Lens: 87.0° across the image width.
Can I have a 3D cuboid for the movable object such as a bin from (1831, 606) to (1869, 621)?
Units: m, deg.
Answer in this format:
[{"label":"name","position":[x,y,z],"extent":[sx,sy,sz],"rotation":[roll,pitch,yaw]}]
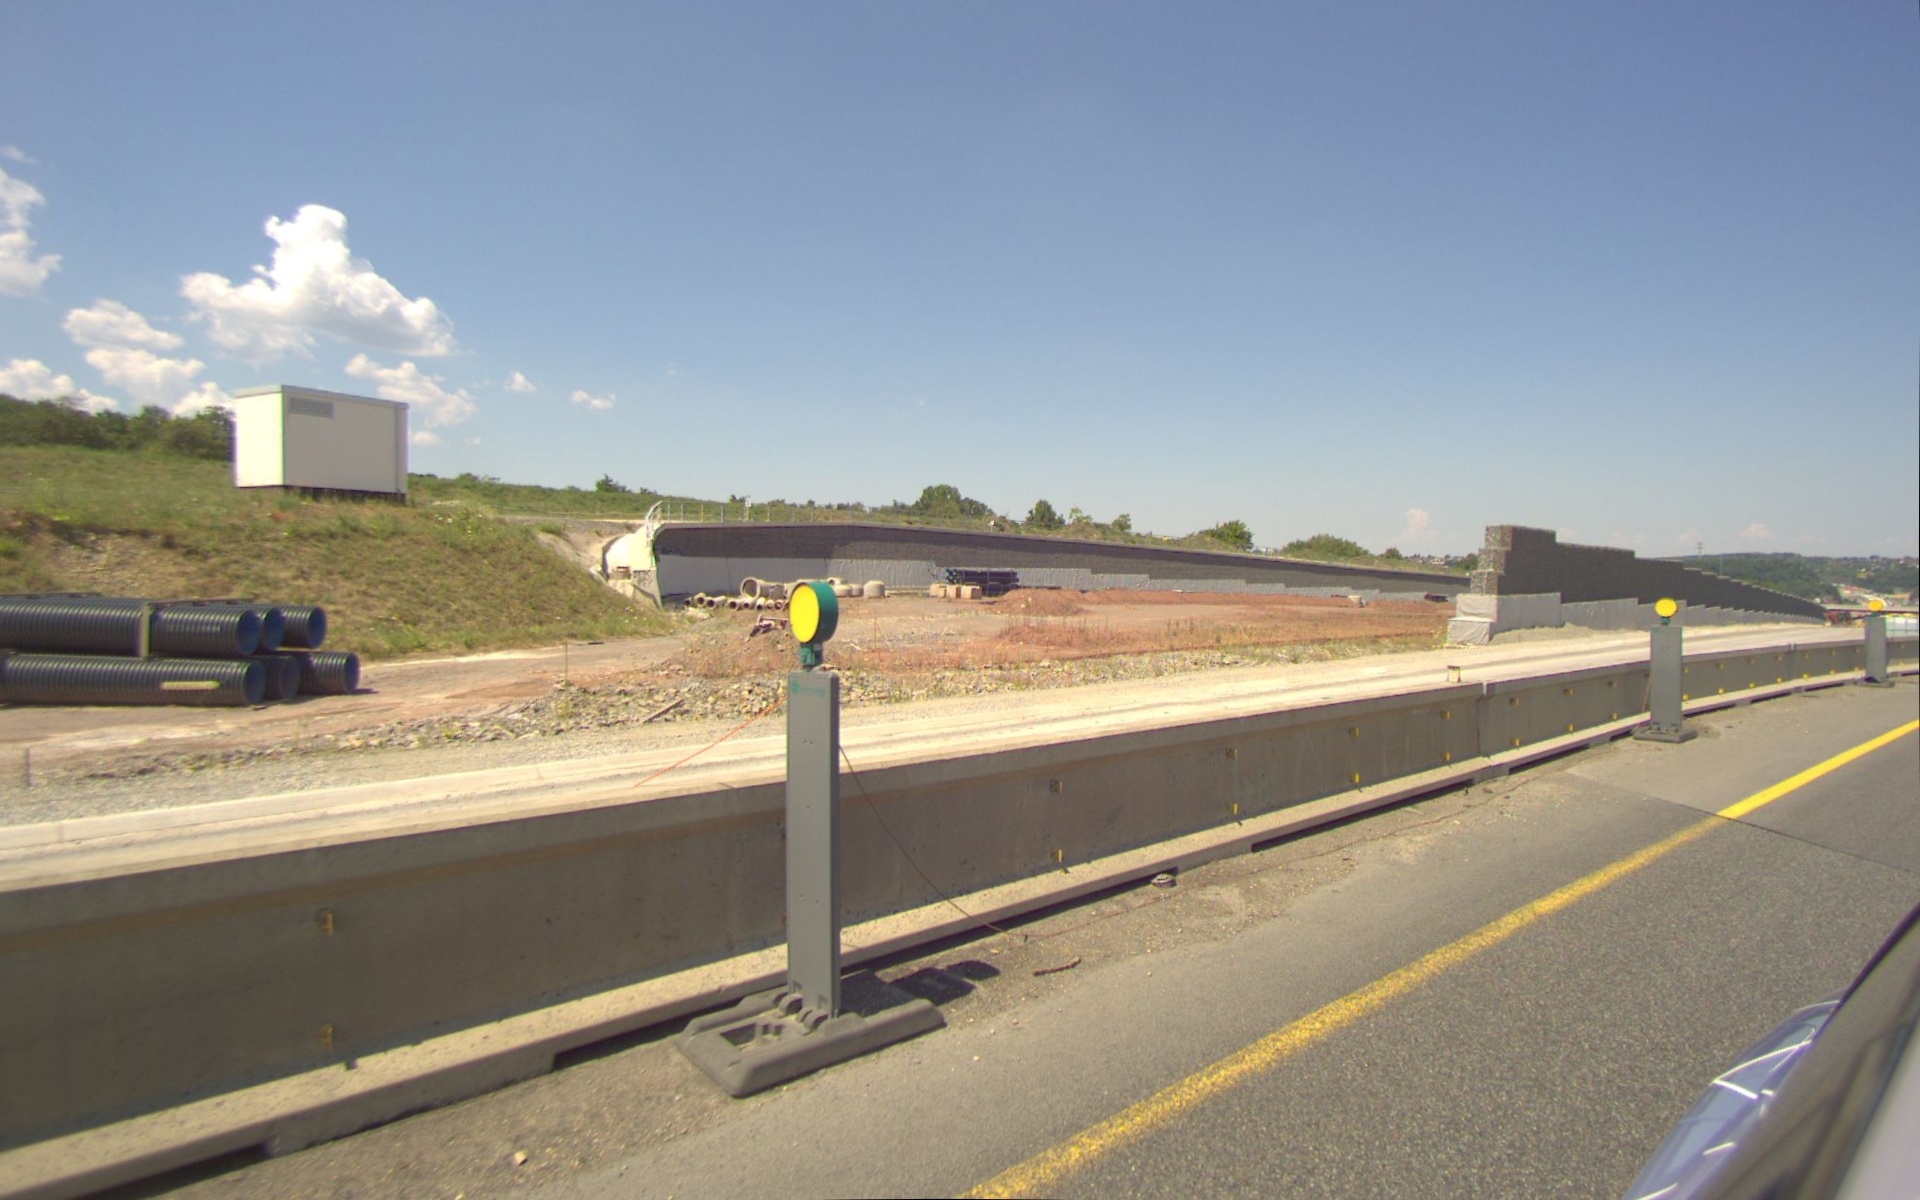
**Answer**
[{"label":"movable object such as a bin","position":[139.998,2.134,159.170],"extent":[4.076,2.174,1.754],"rotation":[1,1,16]}]
